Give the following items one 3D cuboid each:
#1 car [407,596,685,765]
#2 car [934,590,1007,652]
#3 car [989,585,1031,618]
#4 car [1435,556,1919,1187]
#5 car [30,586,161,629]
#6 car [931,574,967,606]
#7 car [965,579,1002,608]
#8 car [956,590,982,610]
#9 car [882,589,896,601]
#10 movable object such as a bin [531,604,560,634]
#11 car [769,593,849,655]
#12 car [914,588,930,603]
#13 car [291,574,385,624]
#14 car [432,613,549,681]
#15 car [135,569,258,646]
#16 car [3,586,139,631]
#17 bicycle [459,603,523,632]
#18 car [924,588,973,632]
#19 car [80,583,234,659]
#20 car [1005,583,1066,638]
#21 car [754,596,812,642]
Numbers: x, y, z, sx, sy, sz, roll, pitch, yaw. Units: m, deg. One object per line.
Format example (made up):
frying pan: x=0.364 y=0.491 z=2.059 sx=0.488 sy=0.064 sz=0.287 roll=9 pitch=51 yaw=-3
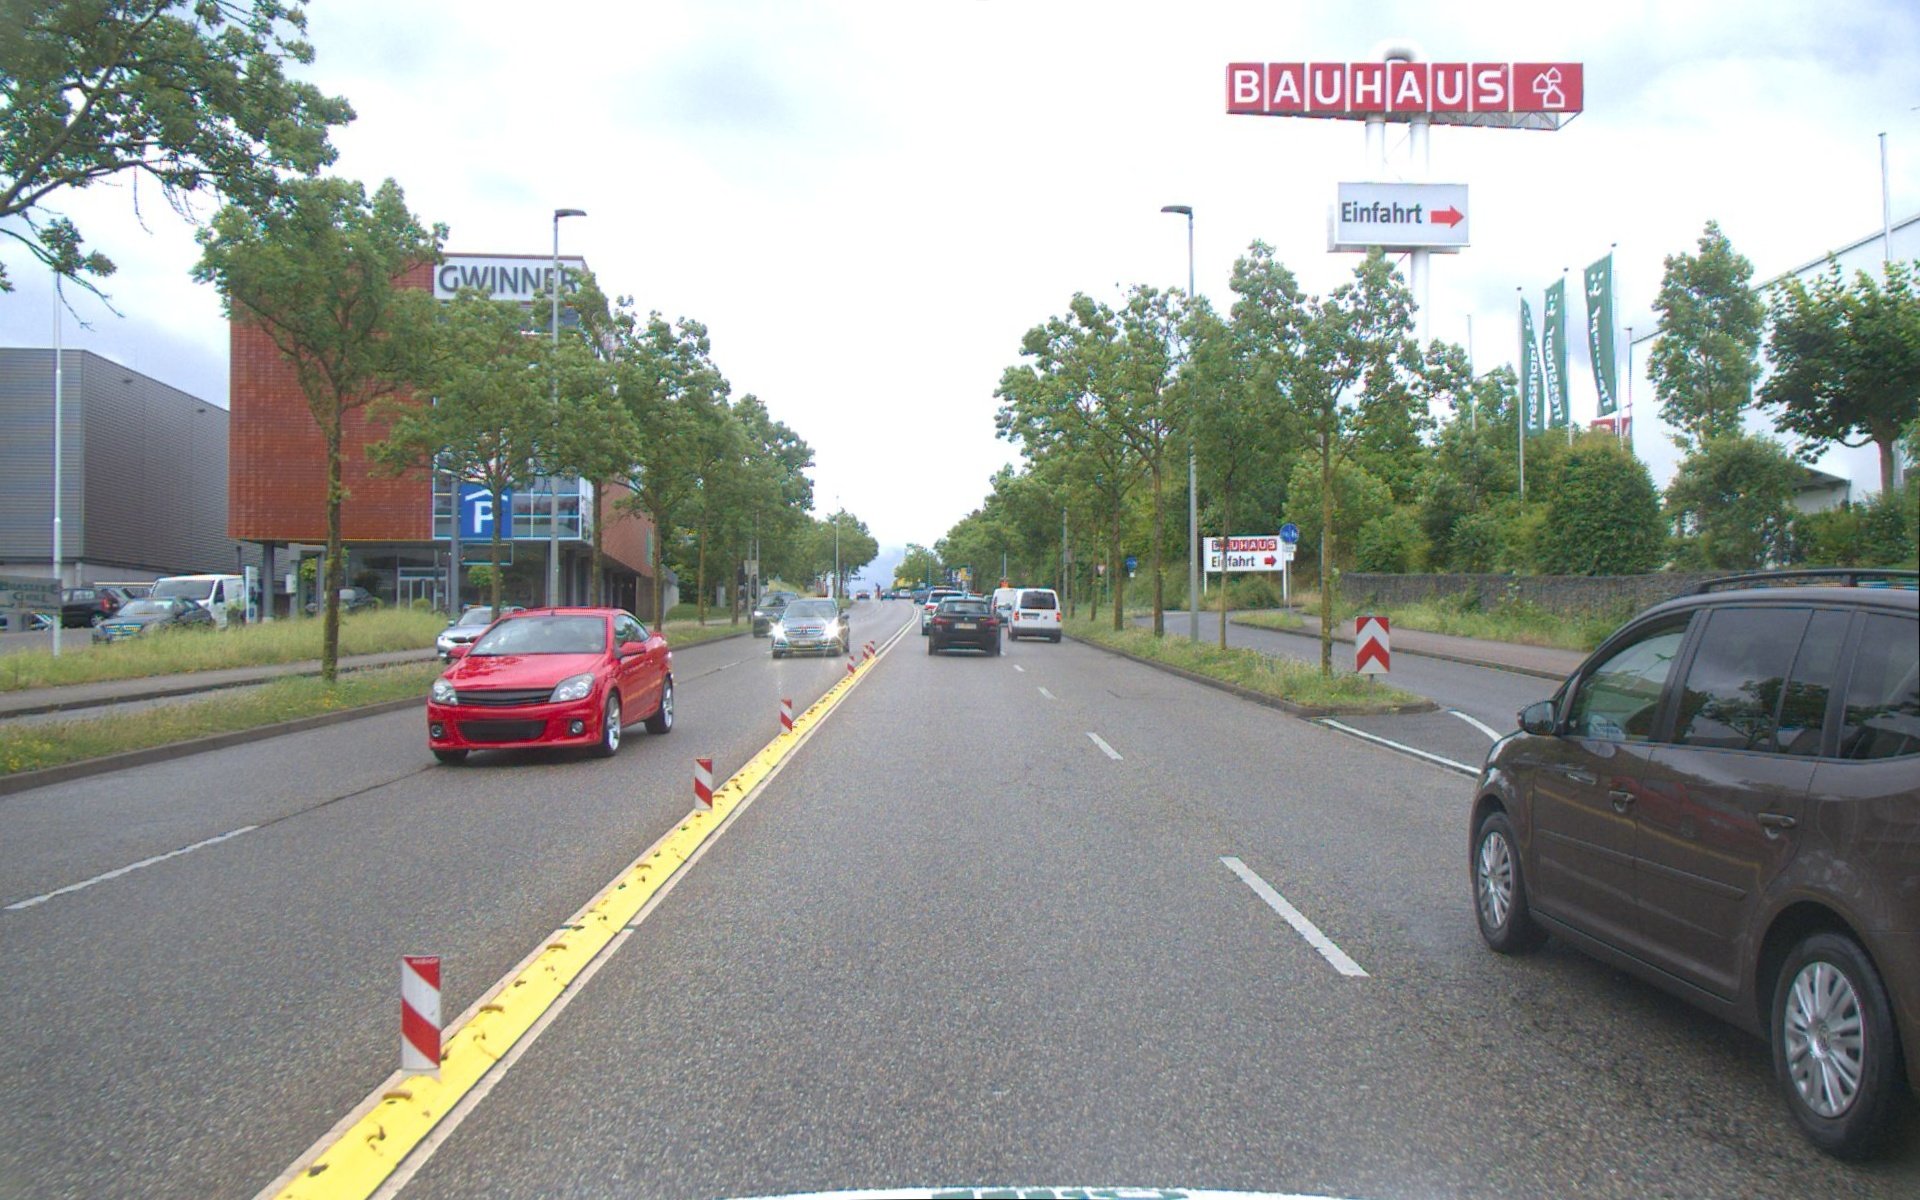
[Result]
car: x=-4.063 y=0.718 z=16.933 sx=1.726 sy=1.450 sz=4.180 roll=-1 pitch=1 yaw=1
car: x=0.248 y=0.502 z=42.616 sx=1.790 sy=1.494 sz=4.000 roll=-1 pitch=0 yaw=0
car: x=2.444 y=0.079 z=81.407 sx=1.758 sy=1.537 sz=3.998 roll=2 pitch=-1 yaw=-2
car: x=3.219 y=0.709 z=5.907 sx=1.651 sy=1.609 sz=4.216 roll=2 pitch=0 yaw=-2
car: x=-33.191 y=0.279 z=63.592 sx=4.033 sy=1.536 sz=1.815 roll=1 pitch=1 yaw=-10
car: x=-0.603 y=-0.523 z=85.766 sx=1.758 sy=1.537 sz=3.999 roll=2 pitch=-1 yaw=-1
car: x=1.348 y=-0.354 z=95.172 sx=1.759 sy=1.537 sz=3.996 roll=2 pitch=-1 yaw=-4
car: x=0.737 y=0.010 z=133.325 sx=1.759 sy=1.537 sz=3.996 roll=2 pitch=-1 yaw=-4
car: x=-9.702 y=-0.637 z=226.668 sx=1.759 sy=1.537 sz=3.996 roll=2 pitch=-1 yaw=-4
movable object such as a bin: x=-16.066 y=0.720 z=64.146 sx=0.802 sy=1.098 sz=1.086 roll=3 pitch=0 yaw=-1
car: x=-3.792 y=0.581 z=42.119 sx=1.633 sy=1.435 sz=4.377 roll=-2 pitch=0 yaw=-1
car: x=-4.279 y=-0.505 z=186.073 sx=1.758 sy=1.537 sz=3.998 roll=2 pitch=-1 yaw=-3
car: x=-24.253 y=-0.066 z=64.661 sx=2.095 sy=1.804 sz=4.605 roll=1 pitch=1 yaw=-3
car: x=-12.277 y=1.193 z=43.549 sx=1.829 sy=1.580 sz=4.574 roll=-2 pitch=0 yaw=-2
car: x=-22.903 y=0.173 z=49.811 sx=2.075 sy=2.132 sz=5.111 roll=1 pitch=1 yaw=-10
car: x=-32.887 y=0.295 z=61.260 sx=4.033 sy=1.536 sz=1.815 roll=1 pitch=1 yaw=-10
bicycle: x=-17.908 y=0.663 z=63.181 sx=2.034 sy=0.951 sz=1.094 roll=5 pitch=-1 yaw=3
car: x=-0.449 y=0.388 z=62.528 sx=1.758 sy=1.537 sz=3.999 roll=2 pitch=-1 yaw=-1
car: x=-21.335 y=0.517 z=44.184 sx=1.999 sy=1.792 sz=4.942 roll=1 pitch=1 yaw=-4
car: x=2.617 y=0.337 z=57.913 sx=1.790 sy=1.789 sz=3.999 roll=2 pitch=0 yaw=-2
car: x=-6.775 y=0.694 z=63.607 sx=1.751 sy=1.642 sz=4.436 roll=-2 pitch=0 yaw=-1
